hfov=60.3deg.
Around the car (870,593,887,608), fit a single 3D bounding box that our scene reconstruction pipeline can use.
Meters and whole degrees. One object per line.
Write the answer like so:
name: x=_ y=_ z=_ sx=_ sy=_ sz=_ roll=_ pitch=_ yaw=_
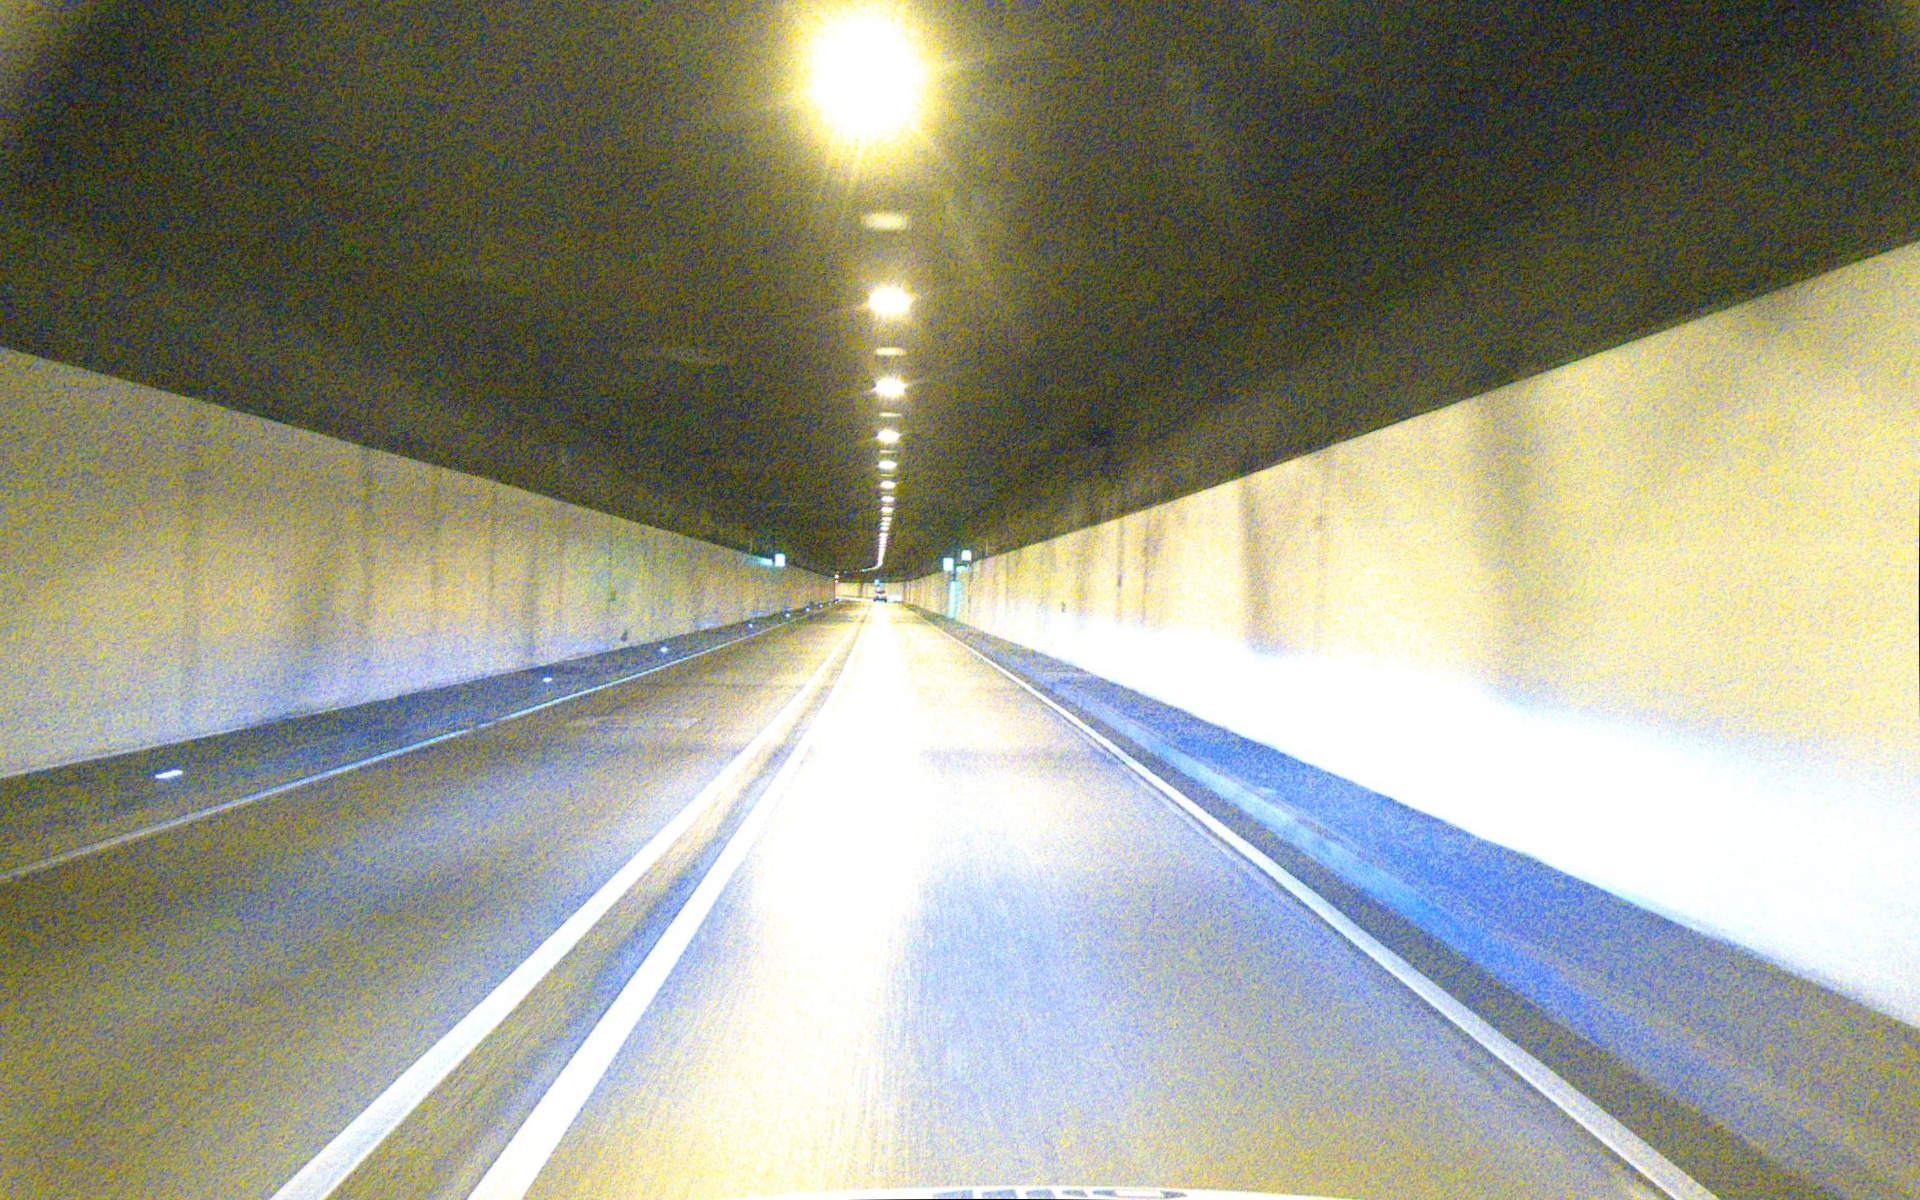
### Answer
car: x=-11.213 y=0.061 z=227.539 sx=1.930 sy=1.973 sz=4.605 roll=2 pitch=-1 yaw=-7
